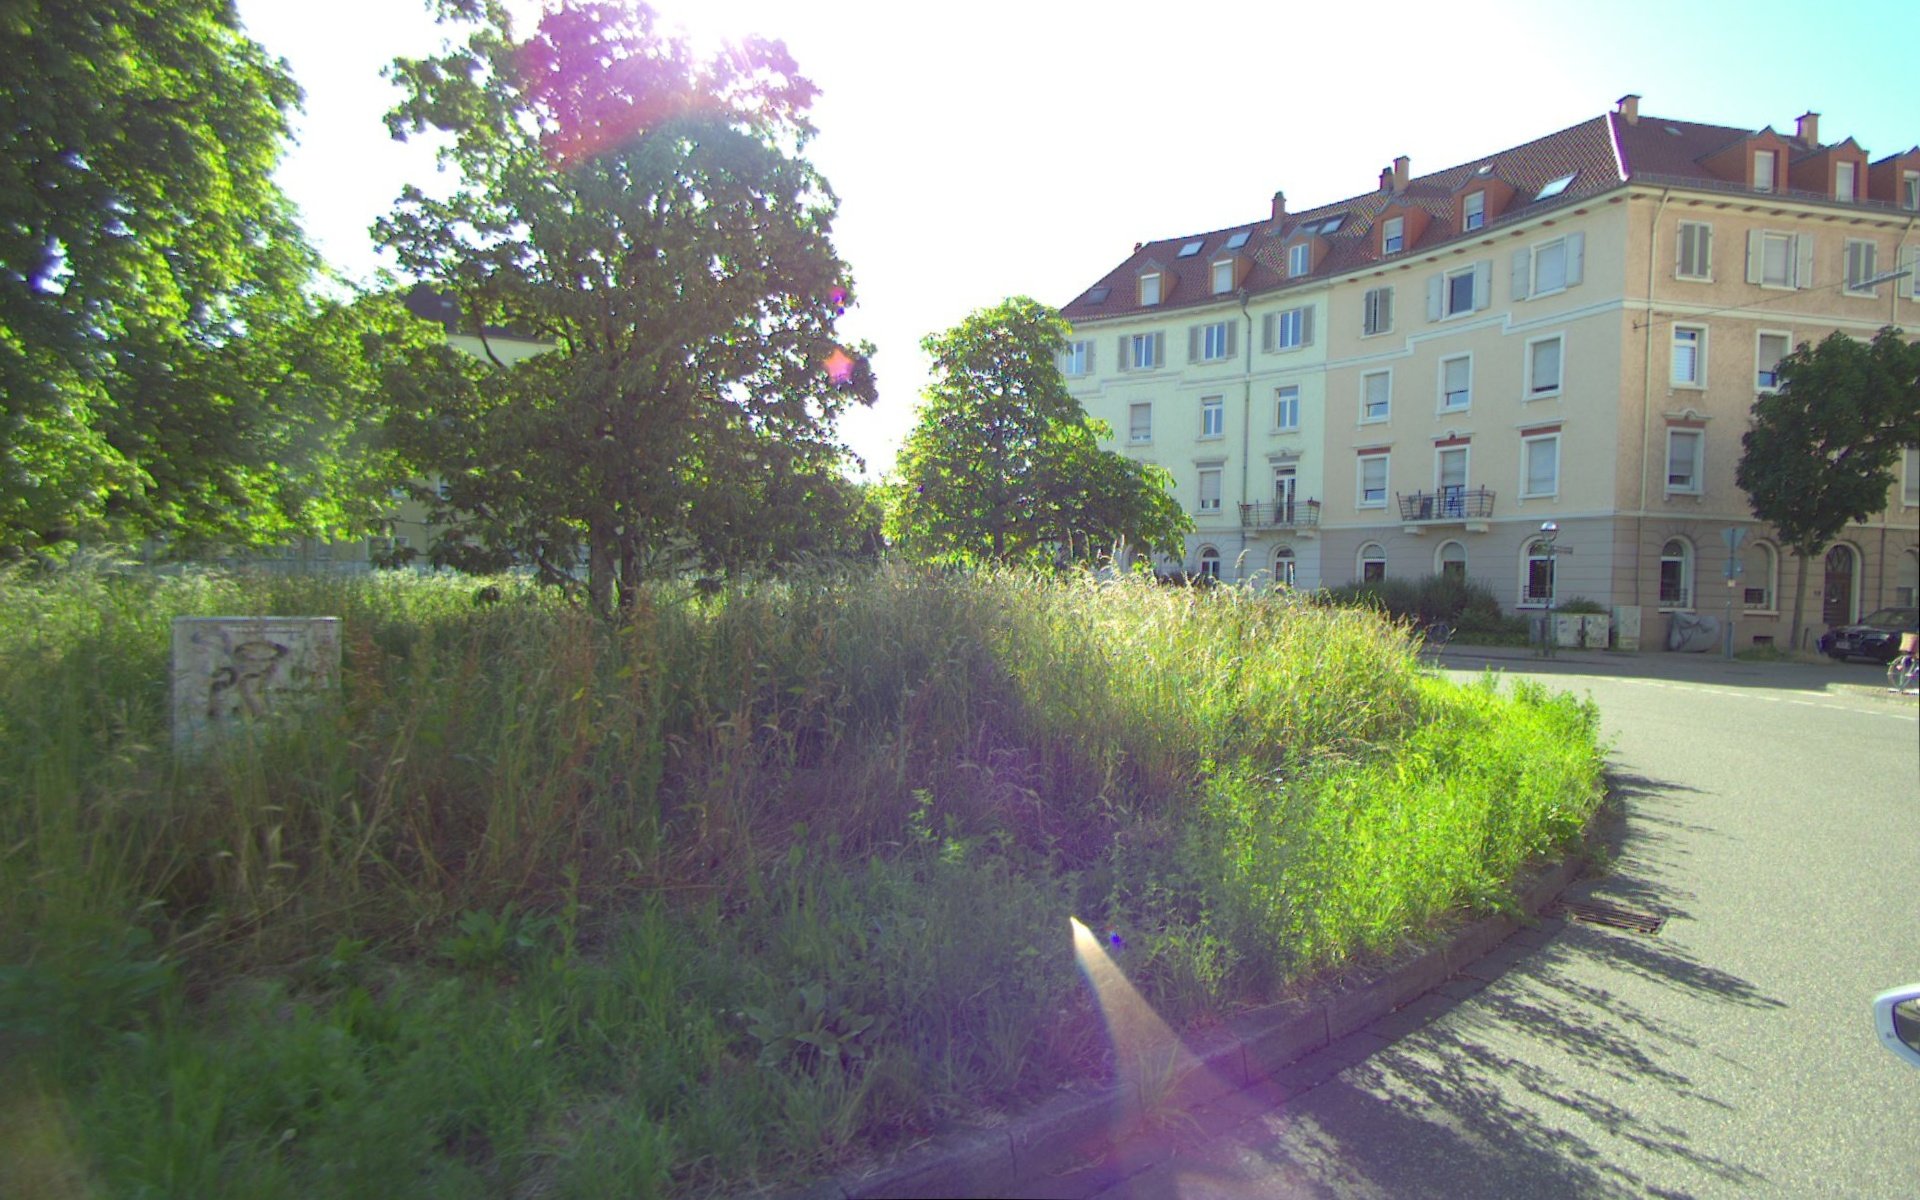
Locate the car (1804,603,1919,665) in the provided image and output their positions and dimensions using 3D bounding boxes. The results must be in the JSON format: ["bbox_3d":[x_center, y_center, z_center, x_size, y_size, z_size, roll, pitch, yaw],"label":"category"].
[{"bbox_3d":[27.246,1.002,29.222,4.272,1.664,1.904,2,1,-13],"label":"car"}]

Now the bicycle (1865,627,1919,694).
[{"bbox_3d":[17.251,1.090,17.720,1.830,1.144,0.700,2,-1,7],"label":"bicycle"}]

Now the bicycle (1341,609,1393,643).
[{"bbox_3d":[14.335,0.897,35.400,0.499,1.103,1.665,-2,2,-42],"label":"bicycle"}]

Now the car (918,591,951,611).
[{"bbox_3d":[-1.664,0.041,67.211,1.764,1.272,3.720,1,0,5],"label":"car"}]

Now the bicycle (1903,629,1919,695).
[{"bbox_3d":[17.220,1.074,16.964,1.841,1.104,0.536,1,0,13],"label":"bicycle"}]

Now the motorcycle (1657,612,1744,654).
[{"bbox_3d":[23.435,1.035,31.804,2.114,1.237,0.941,1,2,-9],"label":"motorcycle"}]

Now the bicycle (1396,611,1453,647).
[{"bbox_3d":[15.612,0.956,33.776,0.499,1.103,1.665,-2,2,-42],"label":"bicycle"}]

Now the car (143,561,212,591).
[{"bbox_3d":[-40.416,-1.254,51.858,4.316,1.458,1.729,2,0,36],"label":"car"}]

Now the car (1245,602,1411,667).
[{"bbox_3d":[9.329,0.829,25.841,1.843,1.438,3.980,1,1,-21],"label":"car"}]

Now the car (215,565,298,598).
[{"bbox_3d":[-31.494,-0.833,44.934,4.417,1.430,1.726,1,0,36],"label":"car"}]
